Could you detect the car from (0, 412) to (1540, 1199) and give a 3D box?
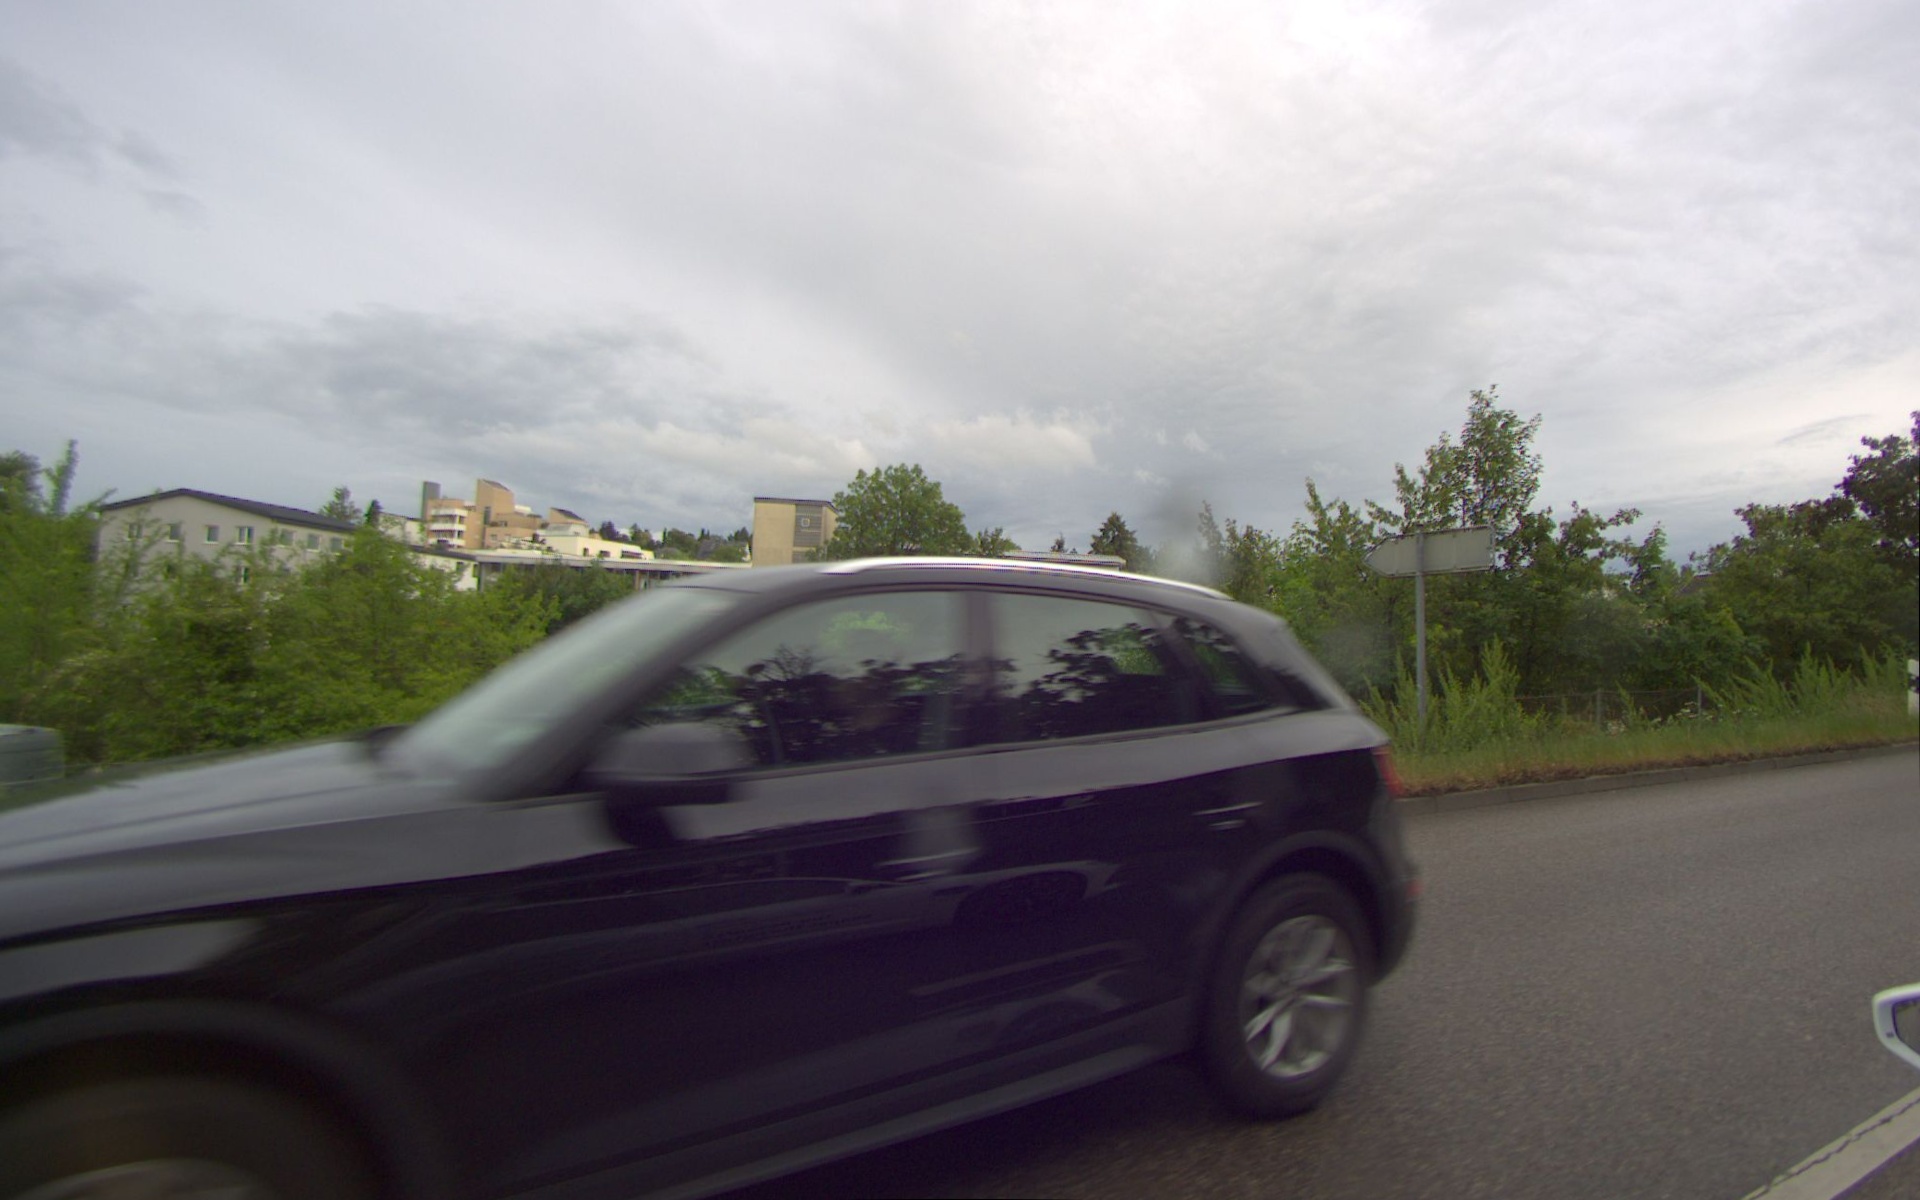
[{"bbox_3d":[-0.358,0.675,3.099,4.365,1.606,1.860,3,-5,-31],"label":"car"}]

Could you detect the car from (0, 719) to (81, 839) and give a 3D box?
[{"bbox_3d":[-23.648,3.960,22.303,6.464,2.492,1.987,-1,-5,2],"label":"car"}]

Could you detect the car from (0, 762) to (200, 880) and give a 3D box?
[{"bbox_3d":[-16.081,3.796,17.282,4.549,1.714,1.869,-2,-6,1],"label":"car"}]
